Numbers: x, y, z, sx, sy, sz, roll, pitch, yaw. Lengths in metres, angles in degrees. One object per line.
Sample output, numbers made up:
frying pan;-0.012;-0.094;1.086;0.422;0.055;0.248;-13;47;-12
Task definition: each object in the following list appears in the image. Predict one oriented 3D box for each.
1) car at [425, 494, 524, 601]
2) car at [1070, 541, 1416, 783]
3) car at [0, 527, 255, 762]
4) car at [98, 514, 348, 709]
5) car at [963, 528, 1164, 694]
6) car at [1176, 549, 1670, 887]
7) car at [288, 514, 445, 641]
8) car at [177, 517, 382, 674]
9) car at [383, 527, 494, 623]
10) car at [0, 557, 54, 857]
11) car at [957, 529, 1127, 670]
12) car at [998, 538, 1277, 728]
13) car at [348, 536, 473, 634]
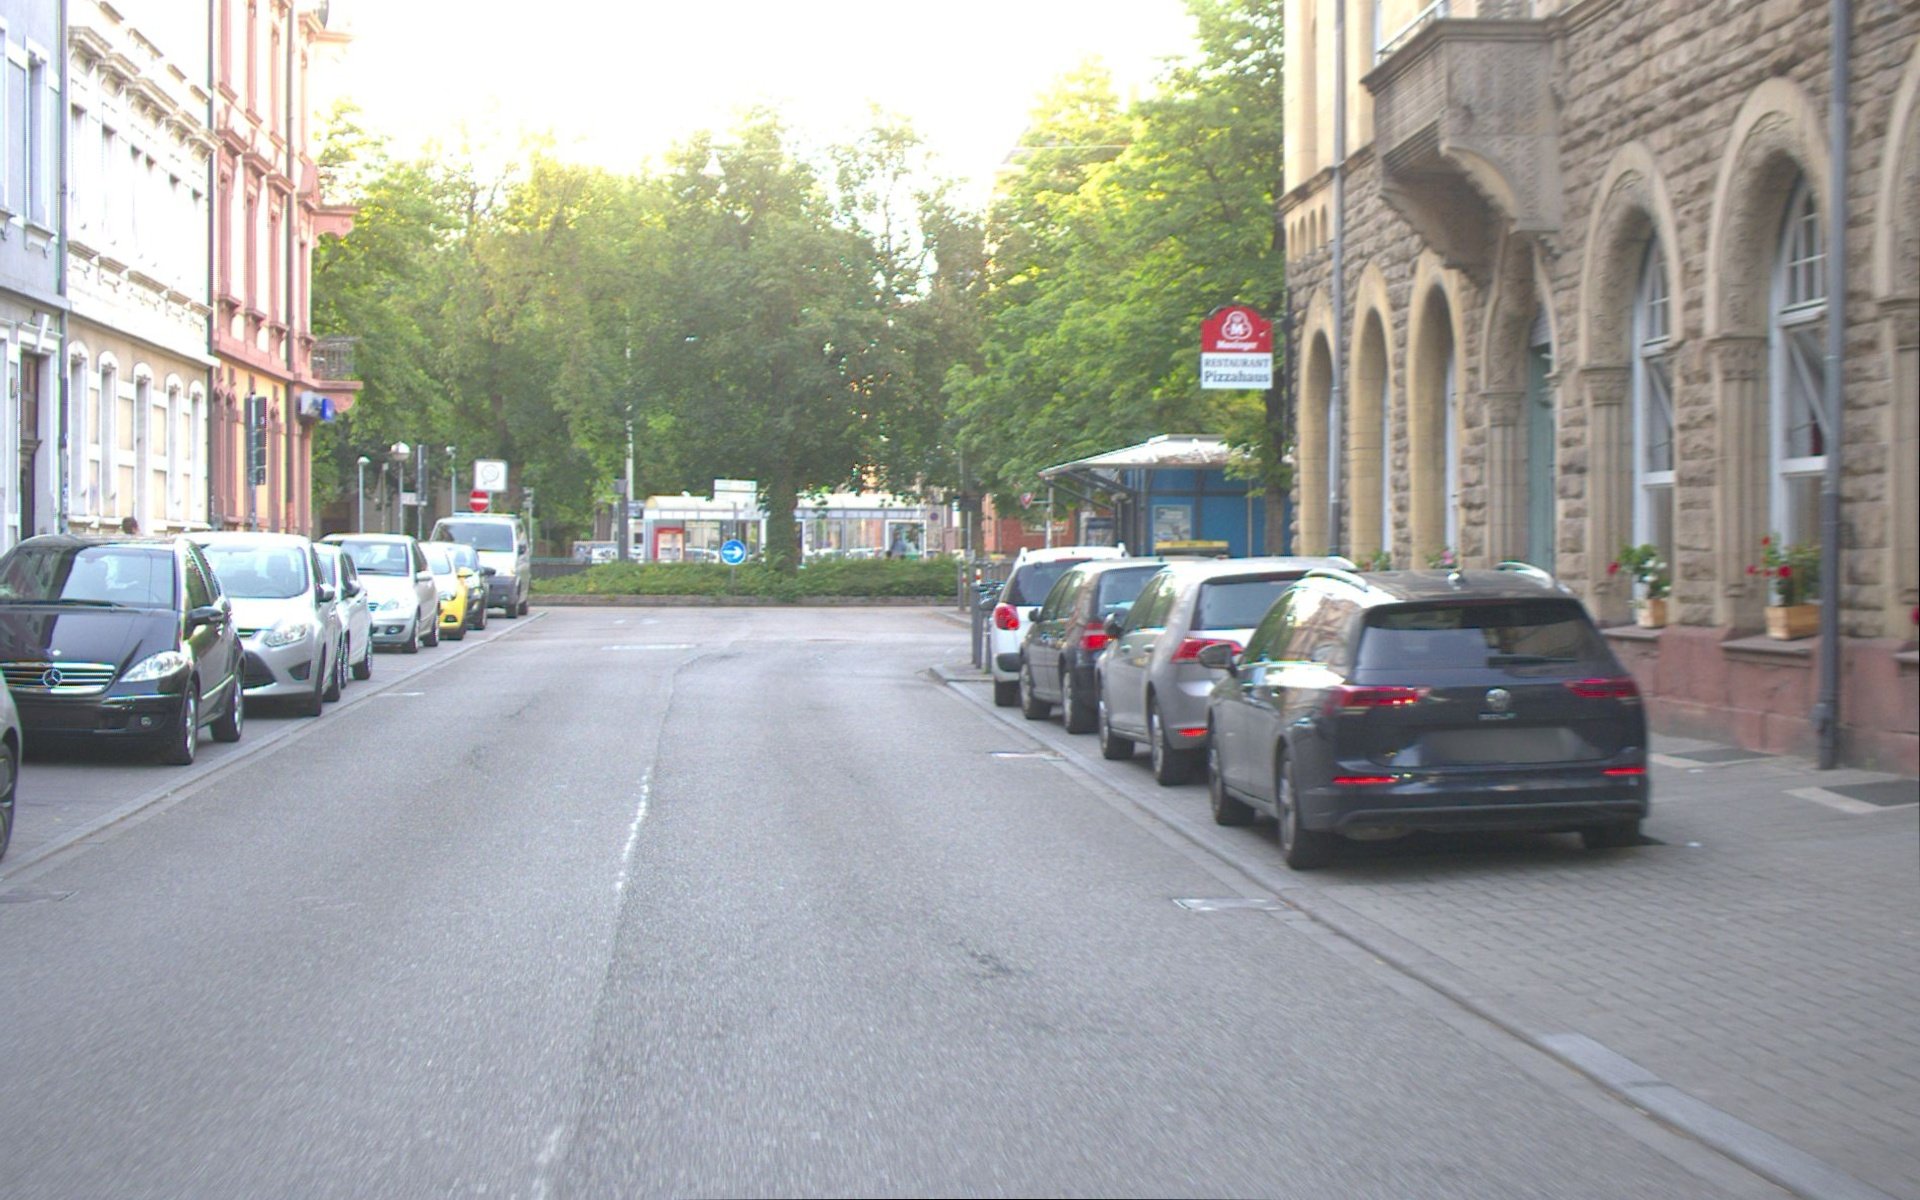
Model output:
car;-9.564;-1.043;67.674;1.810;1.970;4.187;2;1;-8
car;1.876;0.358;24.019;1.676;1.451;4.231;-3;1;-5
car;-6.234;0.265;25.170;1.636;1.560;3.782;1;1;-5
car;-6.638;0.065;31.337;1.844;1.653;4.254;0;1;-7
car;0.989;0.066;34.646;1.676;1.496;3.901;-3;1;-2
car;2.277;0.508;18.058;1.676;1.424;4.479;-3;1;-3
car;-8.136;-0.335;47.394;1.698;1.615;4.023;2;1;-4
car;-7.237;-0.075;36.836;1.698;1.547;3.570;2;1;-4
car;-9.003;-0.460;59.552;1.698;1.547;4.023;2;1;-6
car;-5.513;0.506;15.677;1.834;1.453;4.207;3;1;-4
car;0.915;-0.045;40.519;1.676;1.496;4.018;-3;1;-2
car;1.457;0.232;29.638;1.676;1.451;3.801;-3;1;-8
car;-8.533;-0.264;53.640;1.698;1.421;4.023;2;1;-6
